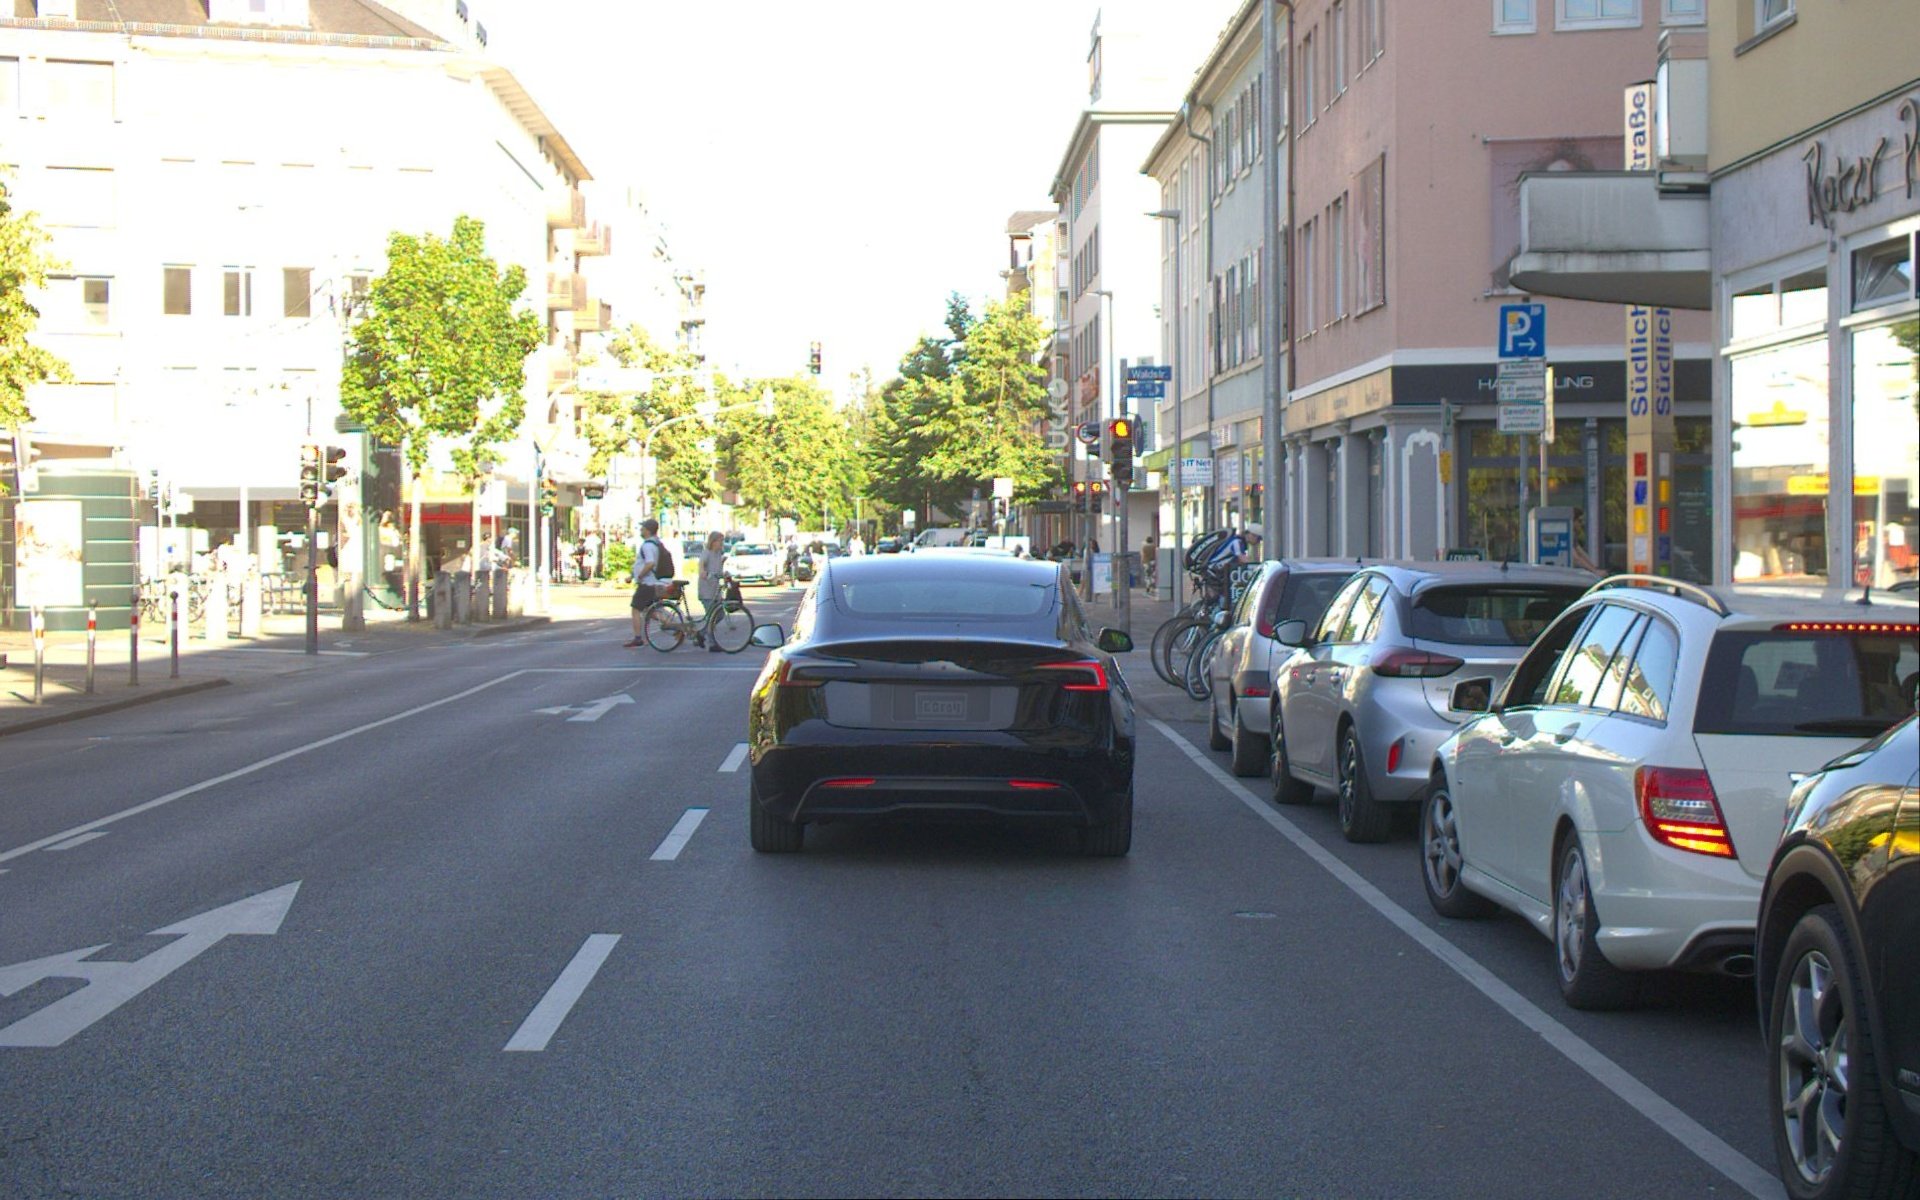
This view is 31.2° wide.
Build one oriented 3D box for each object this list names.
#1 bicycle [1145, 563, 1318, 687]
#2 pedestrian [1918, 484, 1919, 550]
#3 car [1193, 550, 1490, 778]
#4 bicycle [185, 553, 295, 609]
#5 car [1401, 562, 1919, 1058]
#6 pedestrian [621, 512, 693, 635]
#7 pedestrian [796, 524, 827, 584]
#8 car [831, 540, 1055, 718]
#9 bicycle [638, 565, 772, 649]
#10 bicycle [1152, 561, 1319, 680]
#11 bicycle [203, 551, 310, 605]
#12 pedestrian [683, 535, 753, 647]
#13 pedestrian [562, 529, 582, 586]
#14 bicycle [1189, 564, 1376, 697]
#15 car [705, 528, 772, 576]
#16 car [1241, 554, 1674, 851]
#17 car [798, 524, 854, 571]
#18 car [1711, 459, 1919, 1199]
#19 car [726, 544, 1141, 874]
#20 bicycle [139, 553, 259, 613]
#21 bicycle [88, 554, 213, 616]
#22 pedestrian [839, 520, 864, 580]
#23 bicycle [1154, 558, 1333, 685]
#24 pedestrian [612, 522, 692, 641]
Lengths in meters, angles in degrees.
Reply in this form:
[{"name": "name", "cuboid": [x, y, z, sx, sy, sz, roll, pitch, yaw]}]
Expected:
[{"name": "bicycle", "cuboid": [2.642, 0.236, 33.518, 1.627, 1.156, 0.433, -1, 1, -1]}, {"name": "pedestrian", "cuboid": [5.335, 0.203, 17.615, 0.662, 1.627, 0.627, -2, 0, 4]}, {"name": "car", "cuboid": [2.516, 0.369, 23.443, 1.622, 1.389, 3.886, 1, 1, 1]}, {"name": "bicycle", "cuboid": [-14.660, -0.395, 70.037, 2.082, 1.100, 0.806, 1, 1, 0]}, {"name": "car", "cuboid": [2.815, 0.610, 12.531, 1.738, 1.442, 4.465, 1, 1, -1]}, {"name": "pedestrian", "cuboid": [-4.293, -0.387, 48.757, 0.901, 1.719, 0.744, 1, 1, 4]}, {"name": "pedestrian", "cuboid": [-5.039, -1.564, 116.656, 0.750, 2.007, 0.798, 0, 1, -26]}, {"name": "car", "cuboid": [-0.119, 0.208, 30.445, 1.850, 1.450, 3.786, 1, 1, 1]}, {"name": "bicycle", "cuboid": [-3.299, 0.081, 44.524, 1.616, 1.041, 0.590, 1, 1, 14]}, {"name": "bicycle", "cuboid": [2.771, 0.205, 34.675, 1.628, 1.156, 0.433, -1, 1, 1]}, {"name": "bicycle", "cuboid": [-14.780, -0.474, 72.231, 2.082, 1.100, 0.806, 1, 1, 0]}, {"name": "pedestrian", "cuboid": [-3.148, -0.126, 44.794, 0.743, 1.435, 0.582, 1, 1, 13]}, {"name": "pedestrian", "cuboid": [-13.882, -1.519, 123.030, 0.626, 2.007, 0.707, 1, 1, 0]}, {"name": "bicycle", "cuboid": [2.930, 0.271, 31.311, 1.627, 1.156, 0.433, -1, 1, -1]}, {"name": "car", "cuboid": [-7.659, -1.683, 119.226, 1.993, 1.535, 4.000, -3, 1, 0]}, {"name": "car", "cuboid": [2.613, 0.477, 18.928, 1.670, 1.422, 4.078, 1, 1, -2]}, {"name": "car", "cuboid": [-5.059, -1.983, 129.034, 2.050, 1.721, 4.654, 1, 1, -3]}, {"name": "car", "cuboid": [2.866, 0.608, 6.106, 1.755, 1.731, 4.573, 1, 1, -4]}, {"name": "car", "cuboid": [-0.099, 0.459, 17.324, 1.850, 1.450, 3.786, 1, 1, 1]}, {"name": "bicycle", "cuboid": [-14.442, -0.327, 65.261, 2.082, 1.100, 0.806, 1, 1, 0]}, {"name": "bicycle", "cuboid": [-14.771, -0.275, 62.744, 2.082, 1.100, 0.806, 1, 1, 0]}, {"name": "pedestrian", "cuboid": [-3.637, -1.681, 115.116, 0.627, 2.007, 0.558, 1, 1, 24]}, {"name": "bicycle", "cuboid": [2.677, 0.199, 32.507, 1.627, 1.156, 0.433, -1, 1, -1]}, {"name": "pedestrian", "cuboid": [-4.281, -0.265, 47.770, 0.986, 1.631, 0.737, 1, 1, 4]}]
